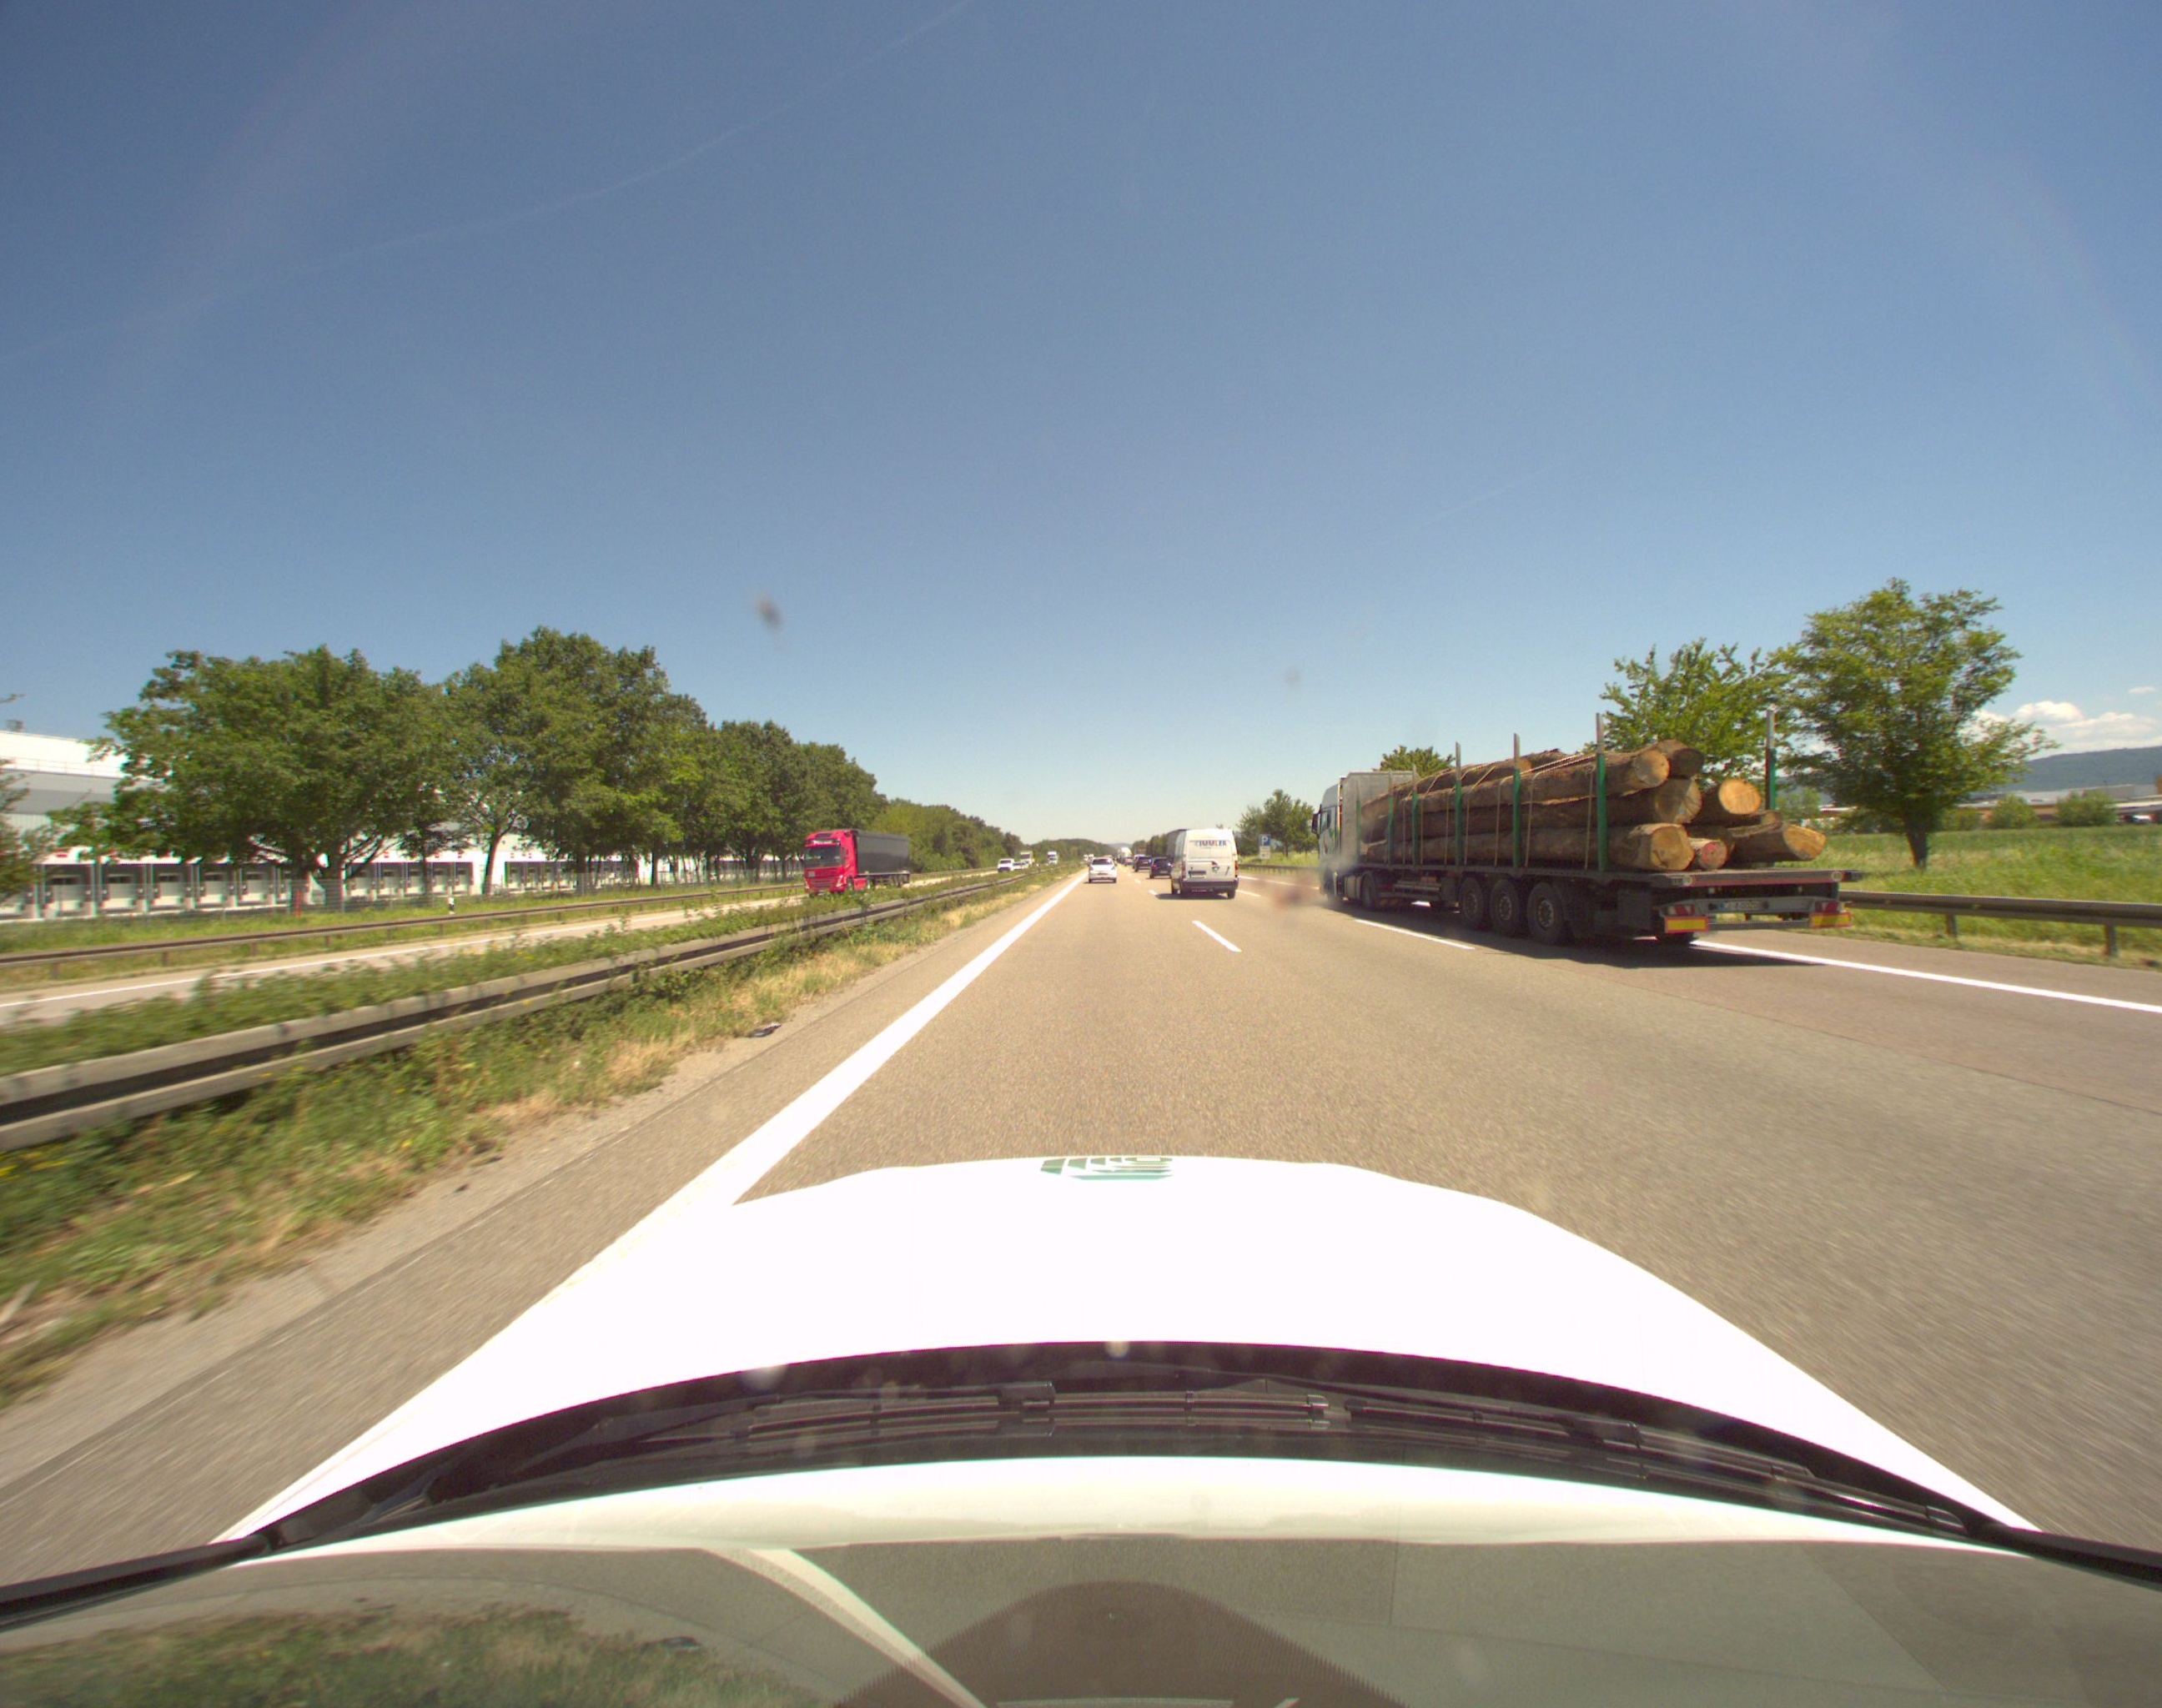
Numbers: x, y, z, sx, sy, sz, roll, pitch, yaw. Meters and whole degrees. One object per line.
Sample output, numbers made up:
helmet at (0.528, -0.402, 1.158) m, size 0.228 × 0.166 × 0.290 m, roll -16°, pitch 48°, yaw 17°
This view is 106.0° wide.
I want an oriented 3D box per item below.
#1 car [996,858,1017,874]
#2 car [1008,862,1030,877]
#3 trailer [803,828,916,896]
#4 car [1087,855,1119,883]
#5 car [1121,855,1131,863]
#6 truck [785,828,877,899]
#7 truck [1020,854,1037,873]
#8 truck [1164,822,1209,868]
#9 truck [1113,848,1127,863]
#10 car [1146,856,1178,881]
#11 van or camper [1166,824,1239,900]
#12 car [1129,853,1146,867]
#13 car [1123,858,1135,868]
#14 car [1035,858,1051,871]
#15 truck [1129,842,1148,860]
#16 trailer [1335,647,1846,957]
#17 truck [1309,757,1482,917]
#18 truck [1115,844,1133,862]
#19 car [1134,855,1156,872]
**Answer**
car at (-9.484, 1.471, 103.955) m, size 1.989 × 1.912 × 5.211 m, roll -3°, pitch 0°, yaw 0°
car at (-6.834, 1.666, 89.728) m, size 1.914 × 1.529 × 4.868 m, roll -3°, pitch 0°, yaw 1°
trailer at (-15.211, 0.532, 57.651) m, size 3.435 × 4.011 × 14.209 m, roll -4°, pitch 0°, yaw 2°
car at (1.303, 0.901, 49.688) m, size 1.851 × 1.652 × 3.999 m, roll 0°, pitch 0°, yaw 0°
car at (8.968, 1.030, 162.582) m, size 1.851 × 1.652 × 3.999 m, roll -1°, pitch 0°, yaw 0°
truck at (-15.409, 0.547, 50.792) m, size 3.426 × 3.931 × 6.223 m, roll -4°, pitch 0°, yaw 2°
truck at (-11.184, 1.936, 174.253) m, size 2.596 × 3.761 × 9.869 m, roll -3°, pitch 0°, yaw 2°
truck at (10.481, -0.753, 82.554) m, size 3.067 × 4.209 × 16.852 m, roll 0°, pitch 0°, yaw 2°
truck at (11.325, 0.326, 237.011) m, size 3.248 × 4.209 × 16.836 m, roll 0°, pitch 0°, yaw -1°
car at (5.687, 0.989, 57.465) m, size 1.851 × 1.652 × 3.999 m, roll -1°, pitch 0°, yaw 0°
van or camper at (4.558, 0.294, 31.420) m, size 2.050 × 2.622 × 5.987 m, roll -1°, pitch 0°, yaw 2°
car at (7.281, 0.761, 105.618) m, size 1.851 × 1.652 × 3.999 m, roll -1°, pitch 0°, yaw 0°
car at (8.040, 1.436, 137.294) m, size 1.851 × 1.652 × 3.999 m, roll -1°, pitch 0°, yaw 0°
car at (-5.613, 1.543, 121.391) m, size 1.989 × 1.912 × 5.211 m, roll -3°, pitch 0°, yaw 0°
truck at (14.448, -0.677, 205.431) m, size 3.248 × 4.209 × 16.836 m, roll 0°, pitch 0°, yaw -1°
trailer at (8.693, -0.658, 17.323) m, size 2.643 × 3.958 × 13.641 m, roll -1°, pitch 0°, yaw 2°
truck at (8.893, -0.428, 23.955) m, size 2.660 × 3.994 × 6.638 m, roll -1°, pitch 0°, yaw 2°
truck at (10.560, -0.170, 201.447) m, size 3.248 × 4.209 × 16.836 m, roll 0°, pitch 0°, yaw -1°
car at (6.443, 0.927, 82.391) m, size 1.851 × 1.652 × 3.999 m, roll -1°, pitch 0°, yaw 0°
